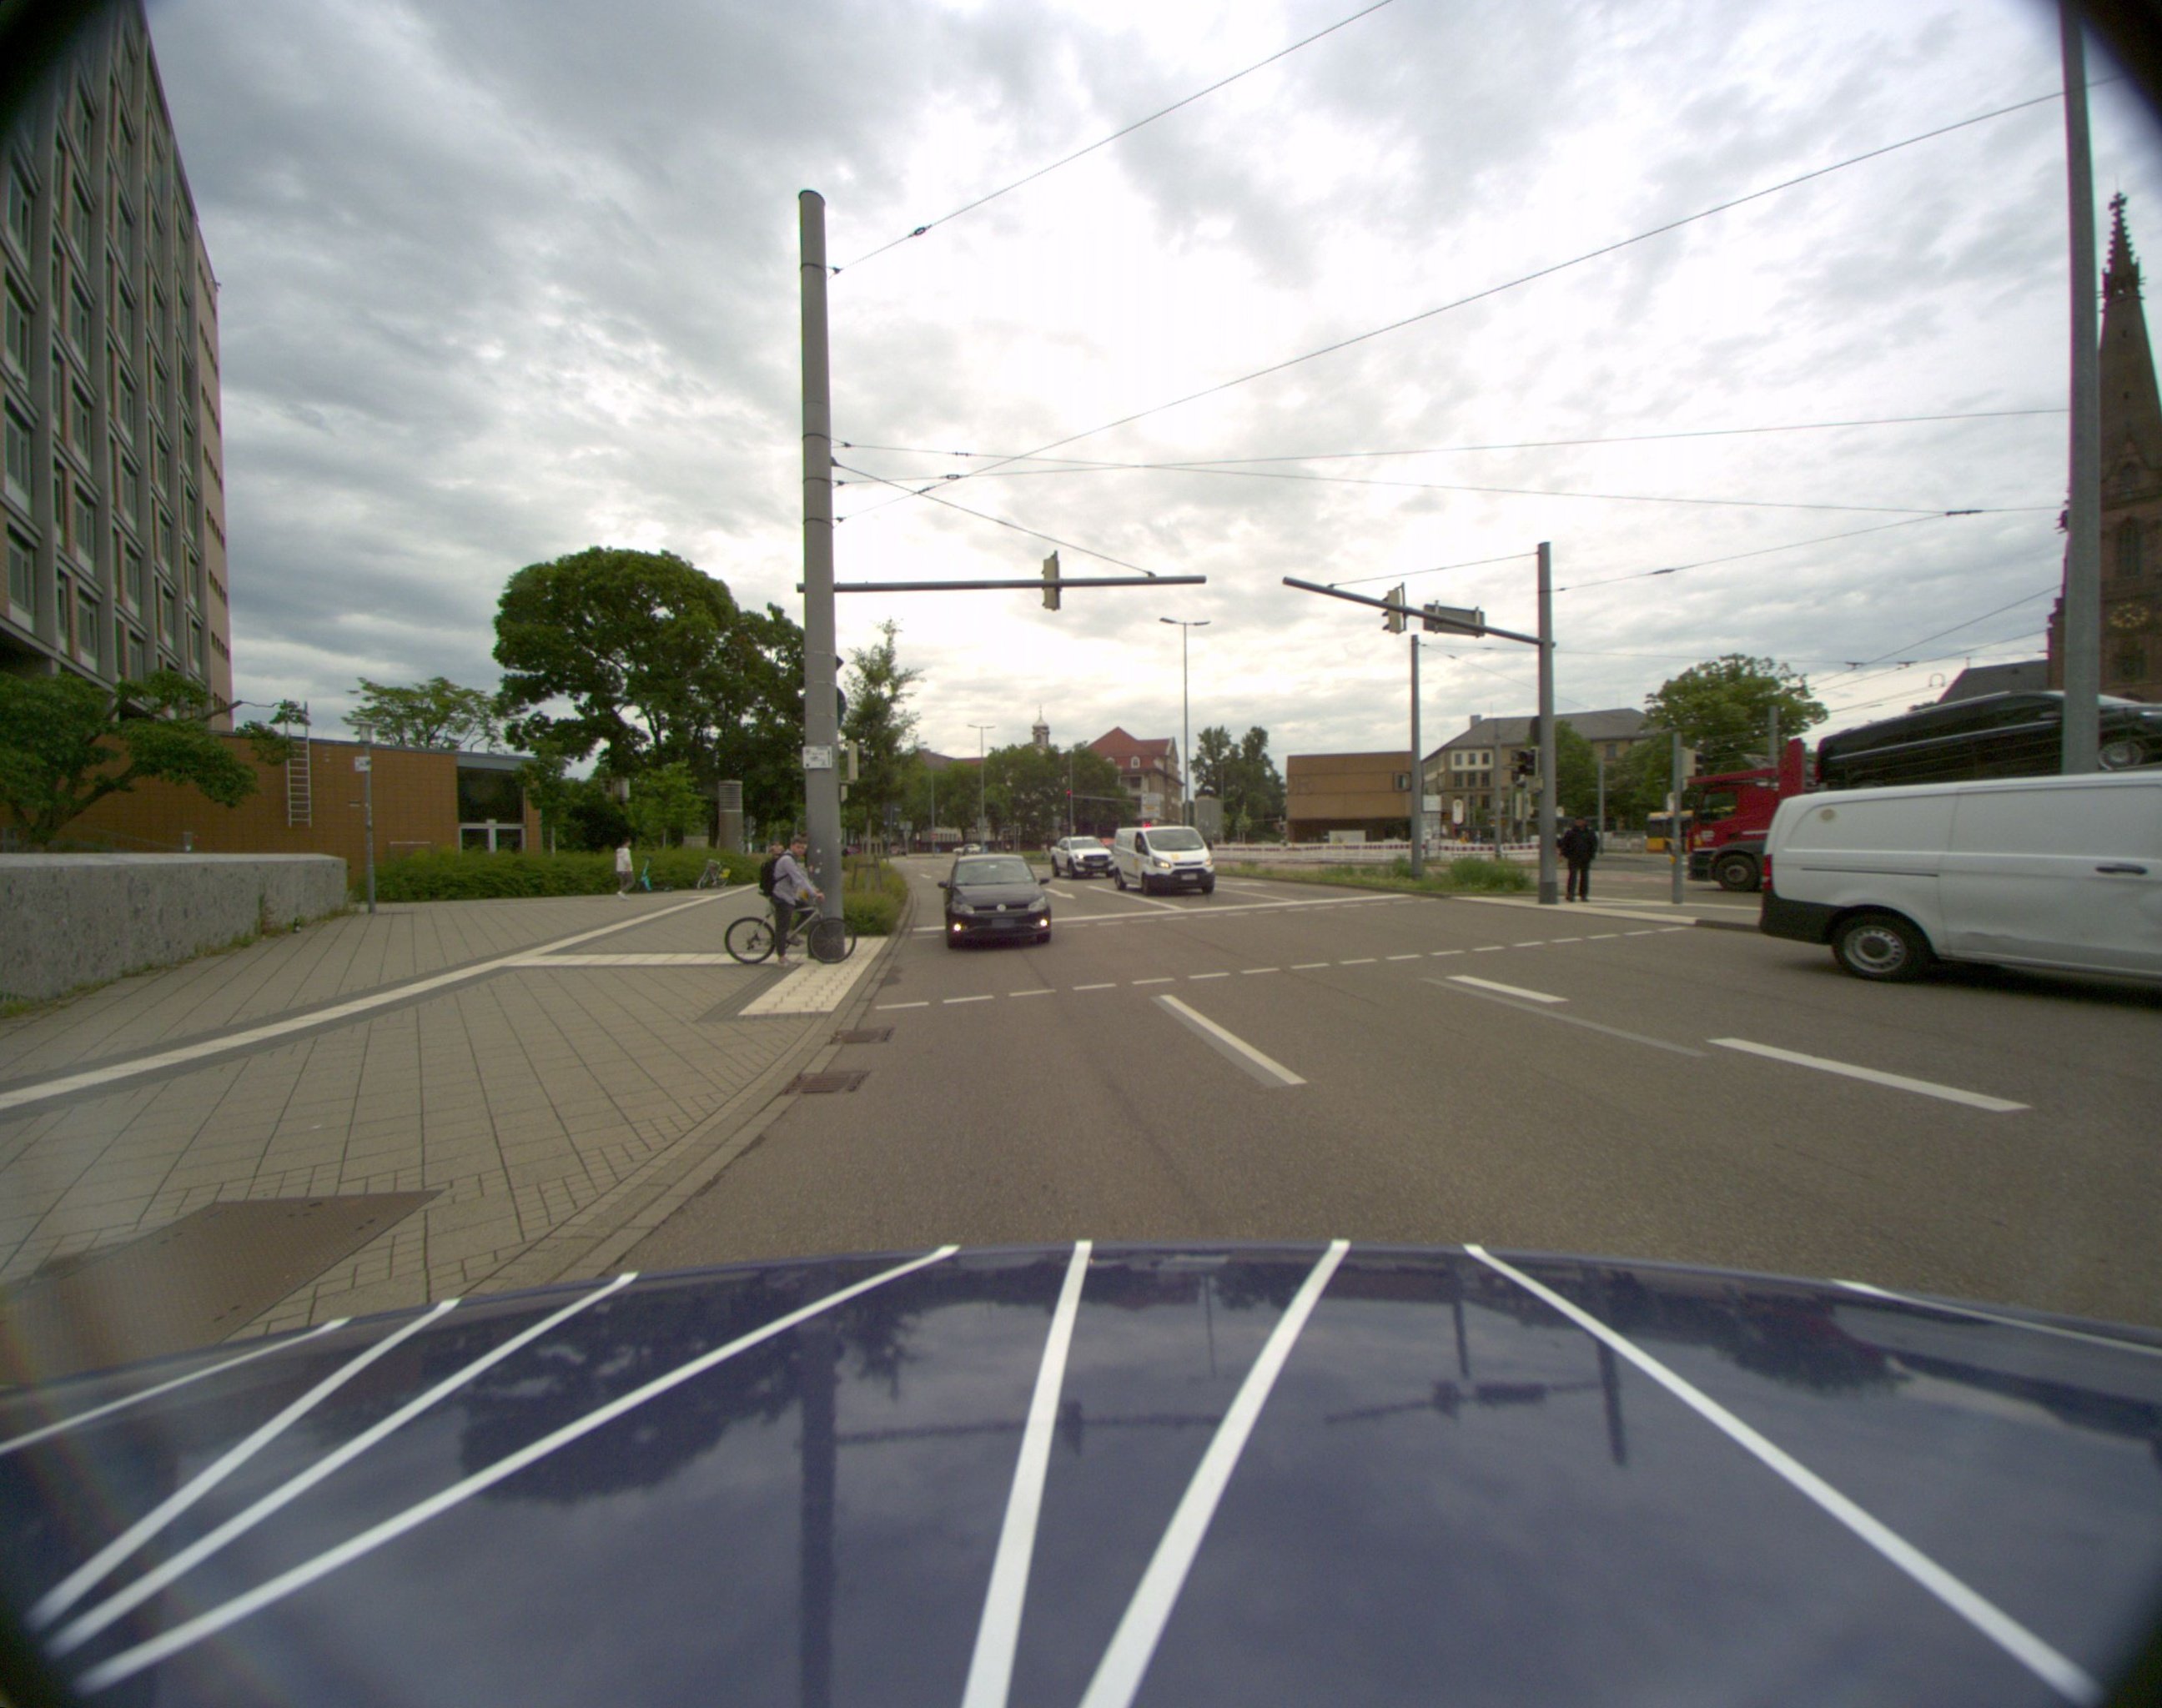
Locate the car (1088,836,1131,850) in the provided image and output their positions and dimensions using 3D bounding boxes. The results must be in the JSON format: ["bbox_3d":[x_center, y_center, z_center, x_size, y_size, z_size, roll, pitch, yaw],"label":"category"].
[{"bbox_3d":[3.503,-1.391,94.026,5.252,1.707,1.908,-2,1,-37],"label":"car"}]

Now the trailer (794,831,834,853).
[{"bbox_3d":[-51.570,-2.181,146.321,2.953,3.991,13.772,-3,2,-38],"label":"trailer"}]

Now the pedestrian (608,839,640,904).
[{"bbox_3d":[-12.866,0.476,21.403,0.704,1.795,0.837,-2,2,-31],"label":"pedestrian"}]

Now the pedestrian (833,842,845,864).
[{"bbox_3d":[-20.333,-0.057,63.892,0.596,1.790,0.723,2,1,31],"label":"pedestrian"}]

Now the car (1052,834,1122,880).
[{"bbox_3d":[0.160,0.090,33.687,2.091,1.838,4.745,-1,1,-12],"label":"car"}]

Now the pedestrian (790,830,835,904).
[{"bbox_3d":[-7.161,0.329,20.256,0.722,1.917,0.876,1,2,45],"label":"pedestrian"}]

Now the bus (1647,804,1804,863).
[{"bbox_3d":[38.810,-1.292,46.466,2.859,3.060,12.032,-2,1,18],"label":"bus"}]

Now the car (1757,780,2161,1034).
[{"bbox_3d":[8.858,0.351,5.937,1.925,1.872,5.080,-3,2,-18],"label":"car"}]

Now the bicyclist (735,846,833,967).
[{"bbox_3d":[-3.916,0.662,10.109,1.102,1.512,0.759,-1,2,-16],"label":"bicyclist"}]

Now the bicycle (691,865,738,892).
[{"bbox_3d":[-12.917,0.851,26.849,0.557,0.843,2.073,-1,1,3],"label":"bicycle"}]

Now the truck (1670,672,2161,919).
[{"bbox_3d":[17.959,-1.014,14.969,3.016,3.898,10.442,-2,1,-13],"label":"truck"}]

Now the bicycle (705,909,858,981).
[{"bbox_3d":[-3.931,1.185,10.126,1.827,0.835,0.766,1,1,-16],"label":"bicycle"}]

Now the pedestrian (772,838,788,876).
[{"bbox_3d":[-14.445,0.158,36.483,0.631,1.790,0.597,2,1,-16],"label":"pedestrian"}]

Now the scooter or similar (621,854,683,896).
[{"bbox_3d":[-14.088,0.677,24.985,1.608,1.282,0.693,-3,2,-43],"label":"scooter or similar"}]

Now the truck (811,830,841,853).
[{"bbox_3d":[-47.178,-2.259,140.634,2.919,4.002,7.141,-3,2,-38],"label":"truck"}]

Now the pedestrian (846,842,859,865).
[{"bbox_3d":[-18.186,-0.039,60.369,0.596,1.790,0.723,2,1,31],"label":"pedestrian"}]

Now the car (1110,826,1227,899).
[{"bbox_3d":[2.463,0.201,22.667,2.001,1.931,4.517,-1,1,-14],"label":"car"}]

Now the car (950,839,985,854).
[{"bbox_3d":[-14.683,-0.994,98.283,3.990,1.718,2.003,-1,2,28],"label":"car"}]

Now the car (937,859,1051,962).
[{"bbox_3d":[-1.560,0.851,13.303,1.656,1.405,3.996,-1,1,-8],"label":"car"}]

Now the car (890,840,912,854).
[{"bbox_3d":[-26.335,-0.982,111.202,2.003,2.002,3.976,-3,2,-30],"label":"car"}]

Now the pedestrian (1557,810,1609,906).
[{"bbox_3d":[10.491,0.073,15.919,0.779,1.932,0.983,0,2,26],"label":"pedestrian"}]
